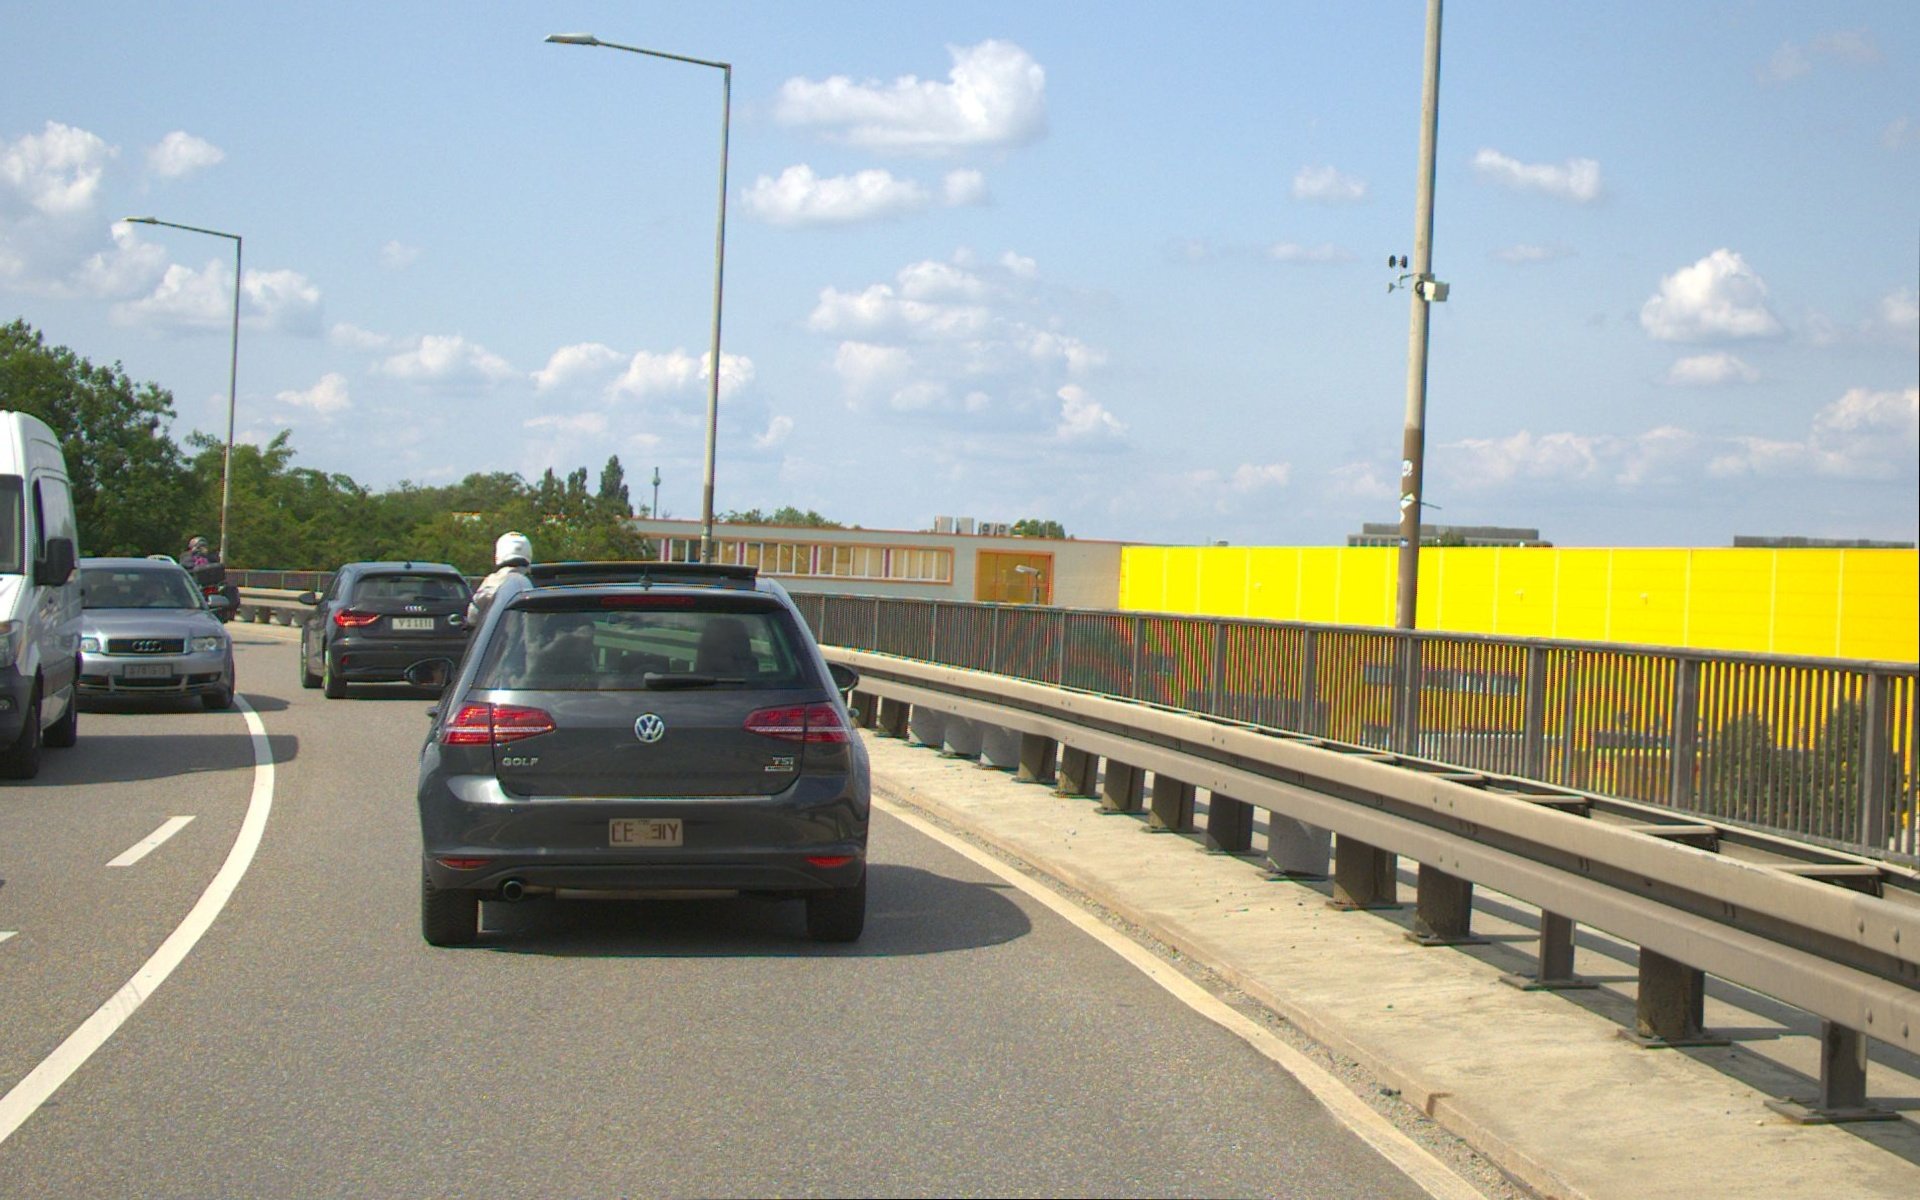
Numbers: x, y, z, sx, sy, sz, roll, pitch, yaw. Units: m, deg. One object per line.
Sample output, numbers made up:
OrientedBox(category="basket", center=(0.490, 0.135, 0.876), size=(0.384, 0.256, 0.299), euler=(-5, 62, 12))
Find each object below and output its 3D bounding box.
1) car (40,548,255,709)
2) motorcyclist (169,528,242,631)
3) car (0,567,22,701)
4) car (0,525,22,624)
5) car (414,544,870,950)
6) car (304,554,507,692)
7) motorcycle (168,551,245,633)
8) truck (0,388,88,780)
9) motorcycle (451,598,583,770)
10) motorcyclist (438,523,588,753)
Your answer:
OrientedBox(category="car", center=(-8.014, 0.229, 33.681), size=(1.766, 1.455, 4.299), euler=(-1, 1, -17))
OrientedBox(category="motorcyclist", center=(-11.917, -0.333, 54.297), size=(0.965, 1.590, 1.125), euler=(1, 1, -19))
OrientedBox(category="car", center=(-10.902, 0.335, 36.358), size=(1.631, 1.340, 4.254), euler=(-1, 1, -19))
OrientedBox(category="car", center=(-16.687, -0.444, 57.176), size=(1.683, 1.591, 4.284), euler=(-1, 1, -21))
OrientedBox(category="car", center=(-1.381, 0.528, 14.536), size=(1.642, 1.474, 3.873), euler=(1, 0, -7))
OrientedBox(category="car", center=(-5.927, 0.244, 36.486), size=(1.681, 1.383, 3.740), euler=(0, 0, -16))
OrientedBox(category="motorcycle", center=(-11.893, -0.139, 54.234), size=(0.887, 1.243, 2.400), euler=(1, 1, -19))
OrientedBox(category="truck", center=(-7.452, -0.154, 24.713), size=(1.993, 2.499, 5.949), euler=(0, 1, -11))
OrientedBox(category="motorcycle", center=(-3.230, 0.583, 24.908), size=(0.789, 1.128, 2.400), euler=(1, 1, -11))
OrientedBox(category="motorcyclist", center=(-3.261, 0.264, 24.988), size=(0.965, 1.615, 1.125), euler=(1, 1, -12))
